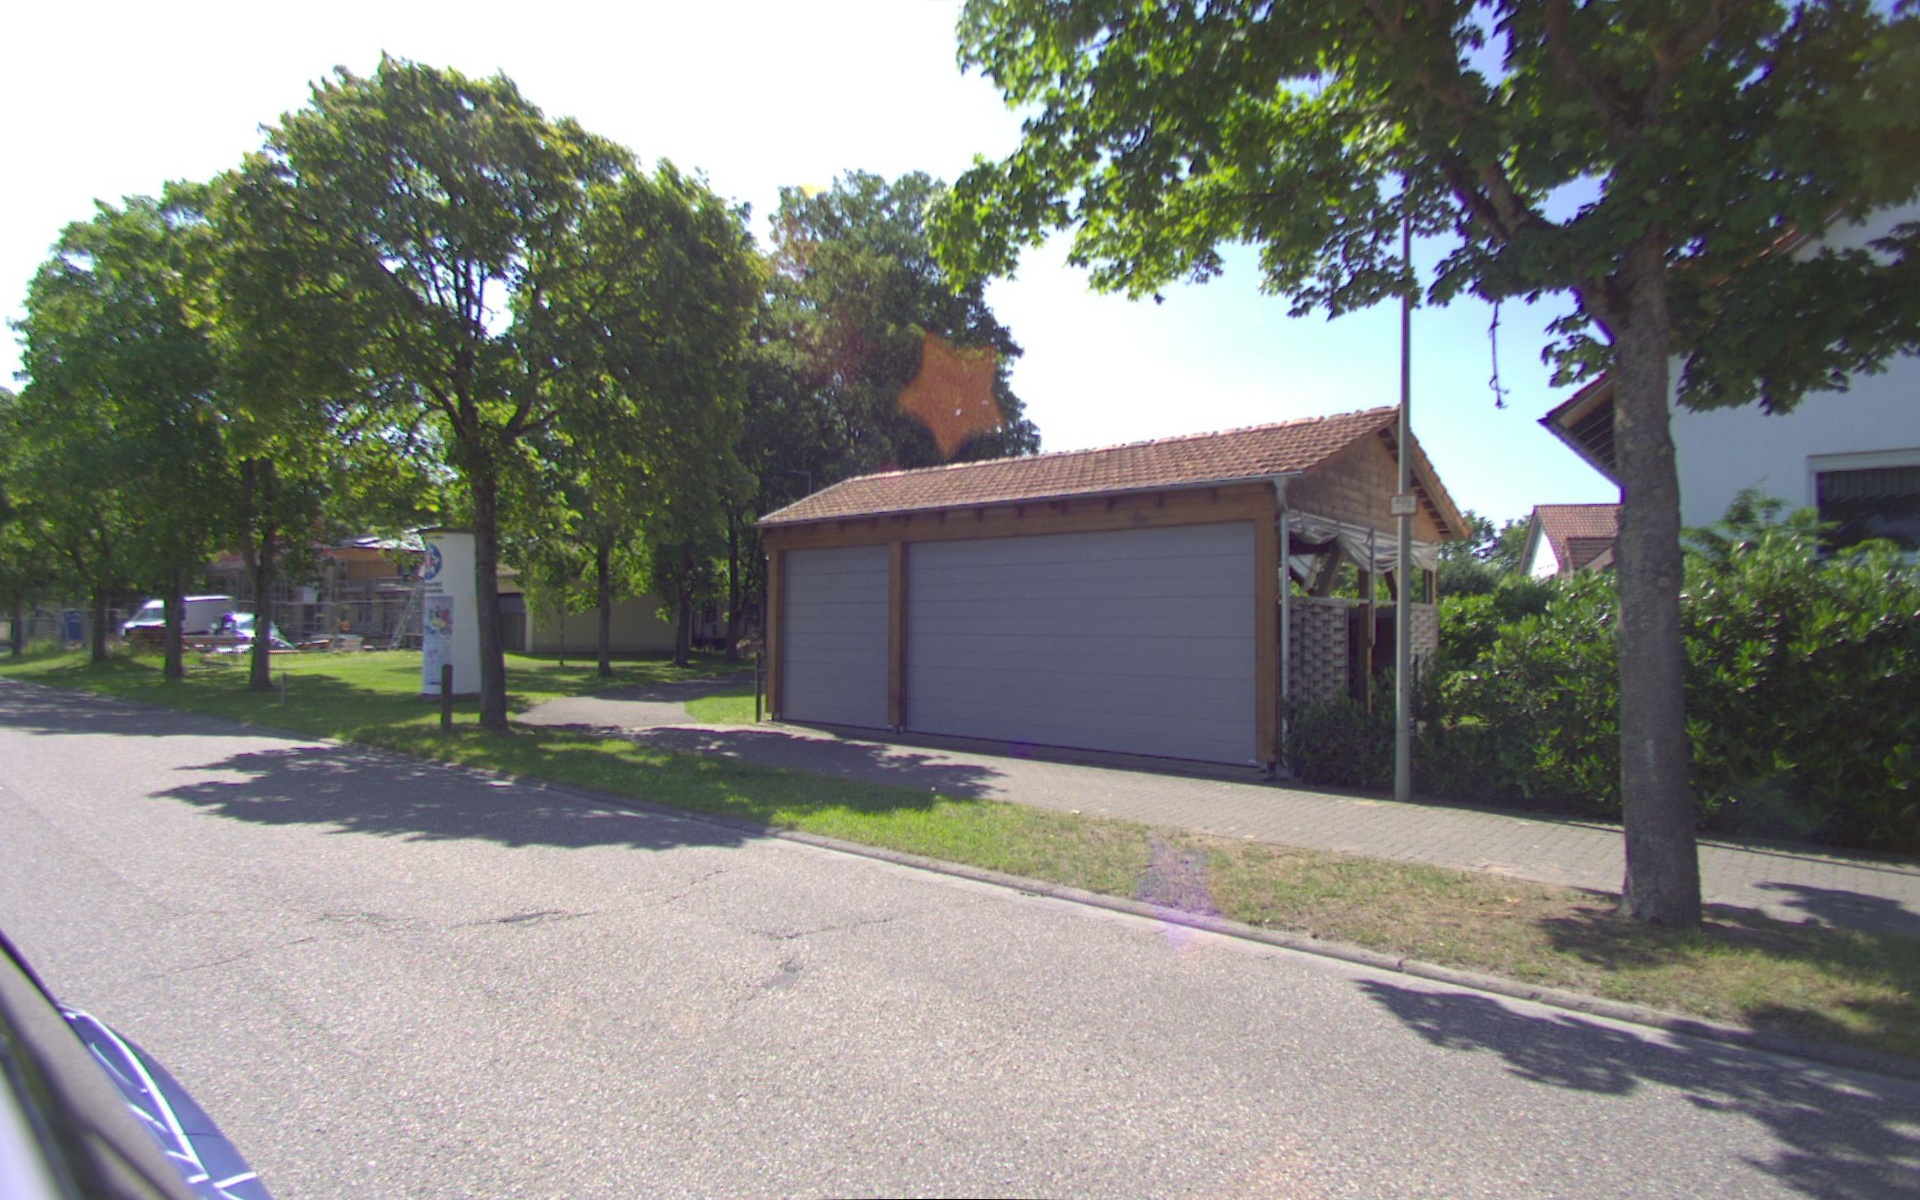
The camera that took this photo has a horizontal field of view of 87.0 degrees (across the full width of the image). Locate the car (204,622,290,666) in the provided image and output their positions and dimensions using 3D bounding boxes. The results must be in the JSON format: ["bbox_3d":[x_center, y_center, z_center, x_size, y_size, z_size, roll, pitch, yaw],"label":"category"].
[{"bbox_3d":[-31.360,1.899,44.466,4.323,1.852,1.951,-1,-2,39],"label":"car"}]

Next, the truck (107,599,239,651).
[{"bbox_3d":[-40.066,1.295,51.781,1.973,2.502,5.928,0,-2,2],"label":"truck"}]

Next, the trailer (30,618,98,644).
[{"bbox_3d":[-81.266,2.833,91.893,1.818,2.295,4.201,-1,-3,25],"label":"trailer"}]
